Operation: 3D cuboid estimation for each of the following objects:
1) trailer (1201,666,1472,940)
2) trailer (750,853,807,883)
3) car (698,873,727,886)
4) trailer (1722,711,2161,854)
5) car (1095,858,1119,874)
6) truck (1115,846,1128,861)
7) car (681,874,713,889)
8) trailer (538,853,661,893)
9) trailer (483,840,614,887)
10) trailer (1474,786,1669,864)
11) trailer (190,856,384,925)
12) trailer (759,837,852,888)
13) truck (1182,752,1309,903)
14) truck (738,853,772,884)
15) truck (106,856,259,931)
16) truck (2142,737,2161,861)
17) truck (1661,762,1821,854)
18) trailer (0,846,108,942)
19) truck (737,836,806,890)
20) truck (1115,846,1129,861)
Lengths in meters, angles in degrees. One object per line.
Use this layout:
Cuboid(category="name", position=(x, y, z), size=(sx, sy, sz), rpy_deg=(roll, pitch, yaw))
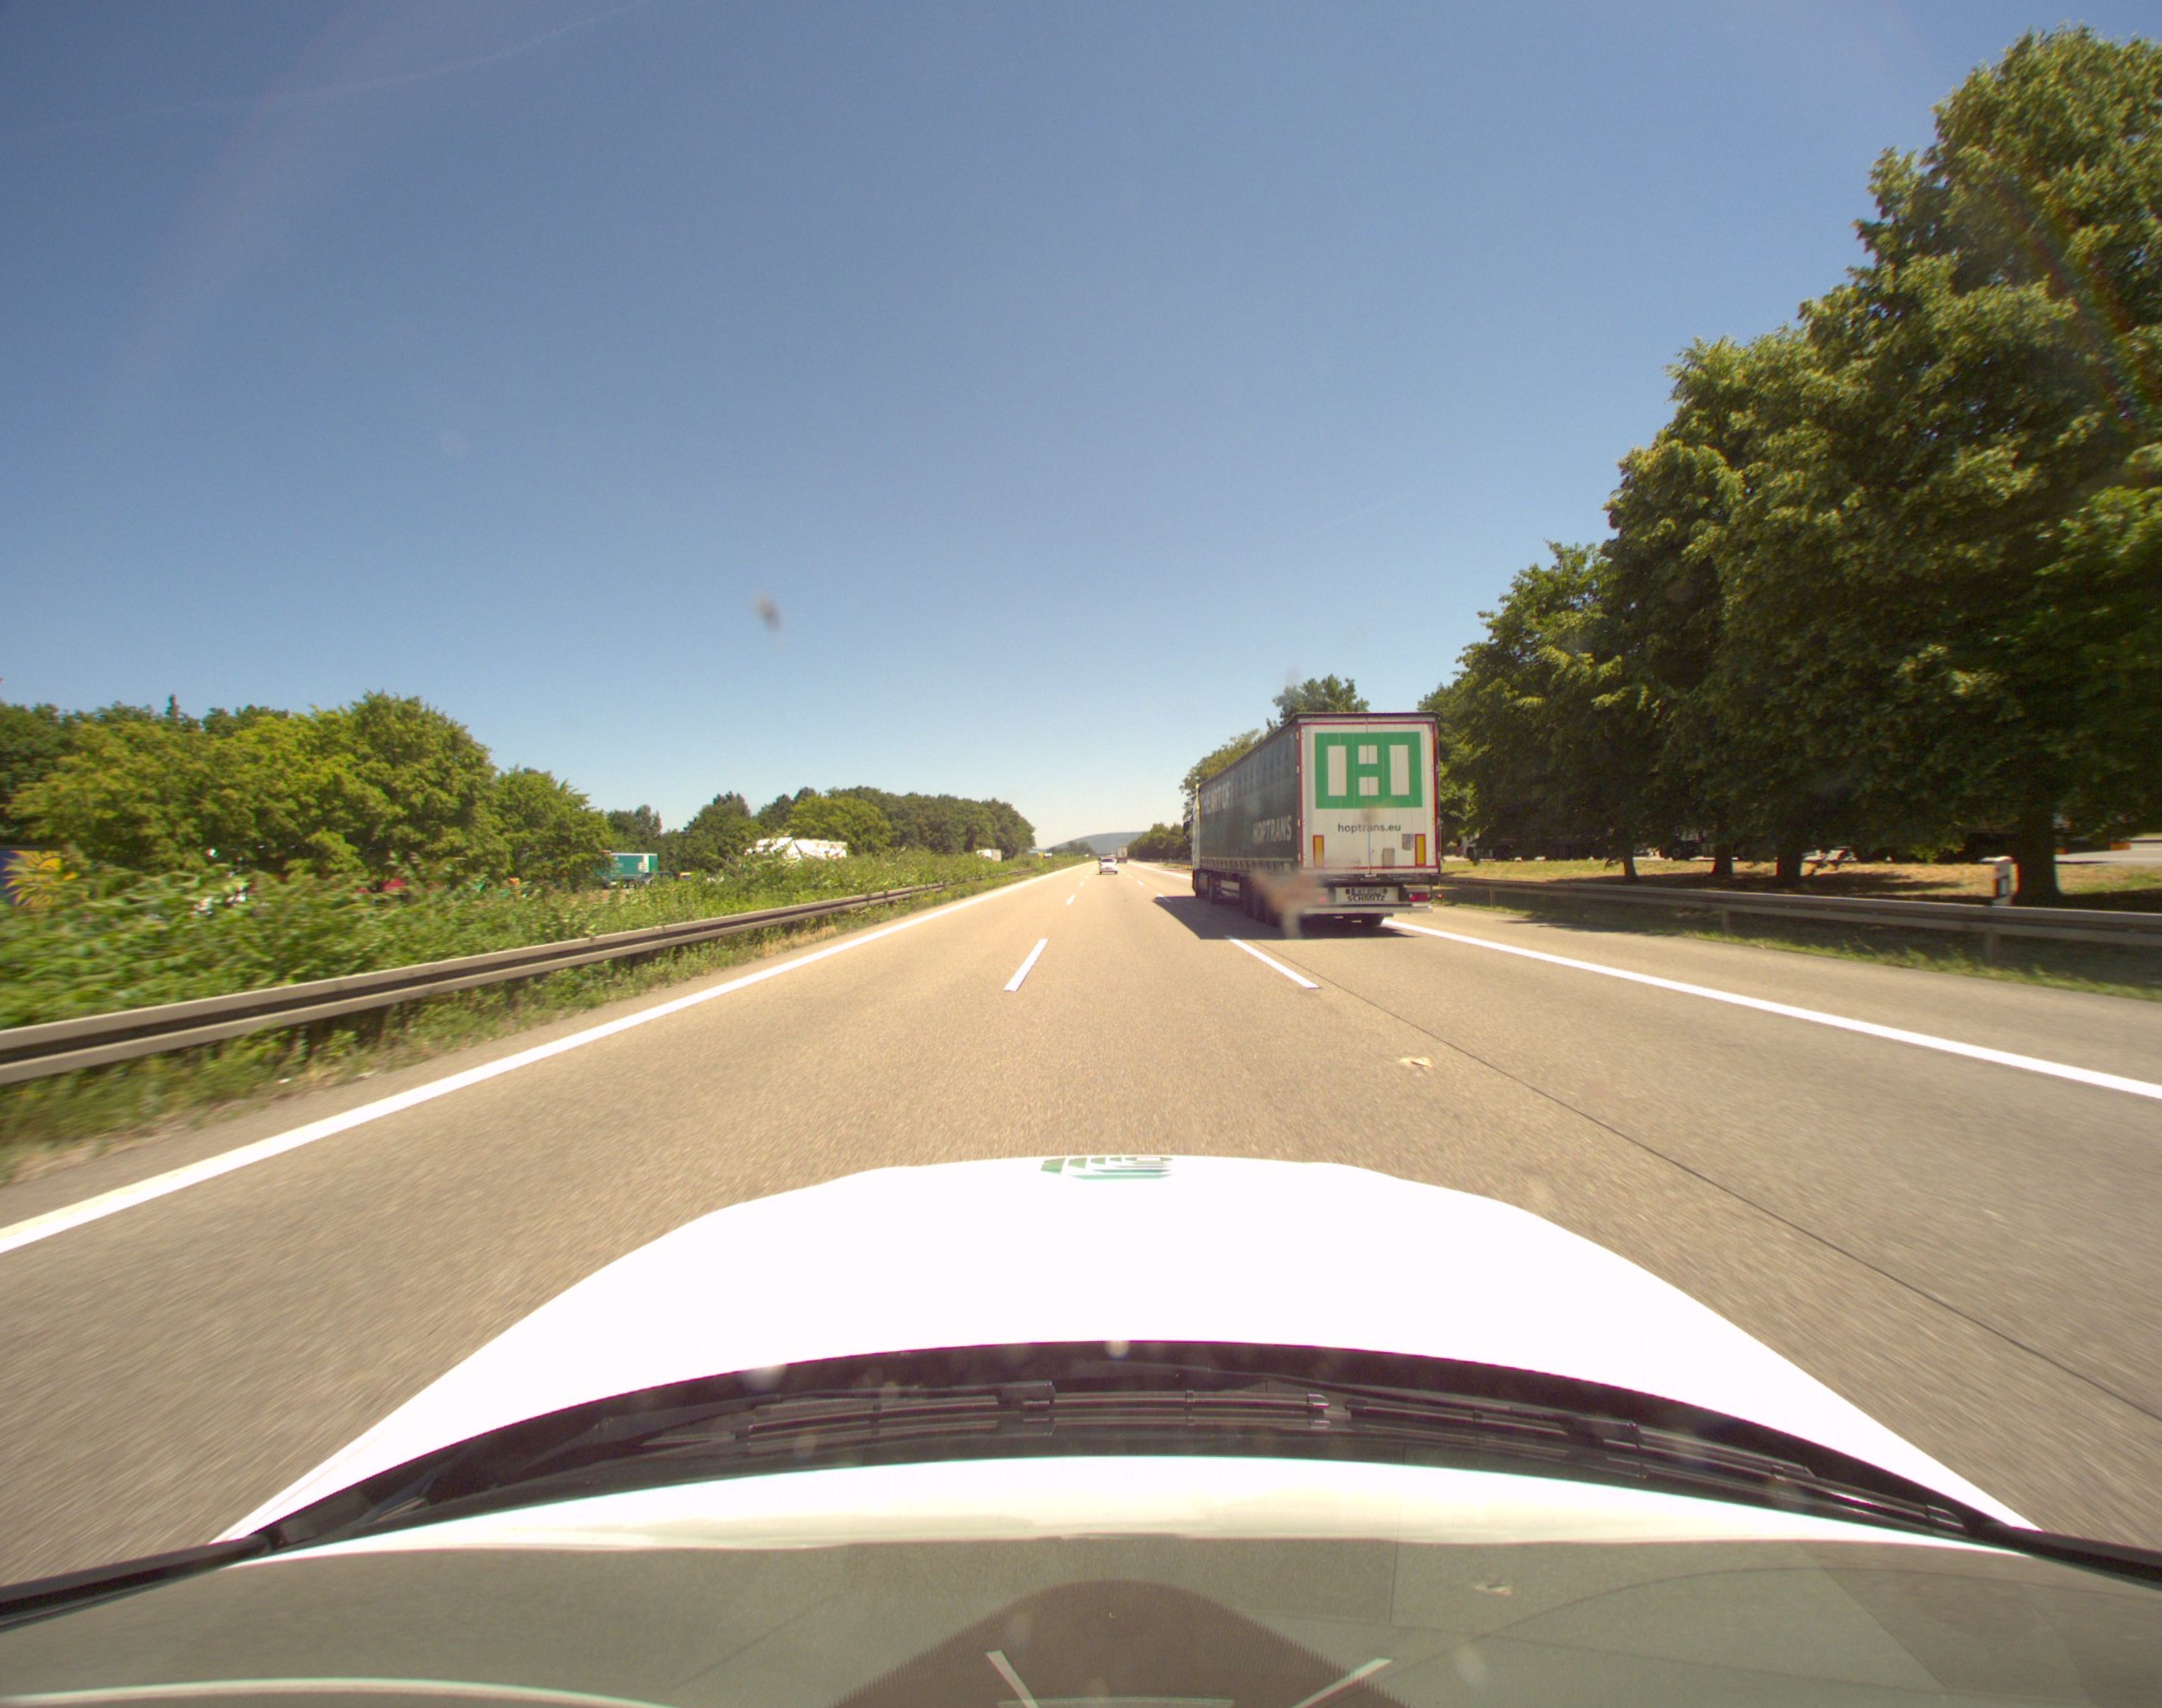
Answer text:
Cuboid(category="trailer", position=(5.297, -0.869, 20.116), size=(3.170, 4.627, 12.055), rpy_deg=(-2, 0, 2))
Cuboid(category="trailer", position=(-41.218, 1.792, 111.470), size=(2.278, 3.870, 10.729), rpy_deg=(-3, 0, 8))
Cuboid(category="car", position=(-44.243, 3.054, 97.801), size=(1.464, 1.429, 3.741), rpy_deg=(-2, 0, 5))
Cuboid(category="trailer", position=(29.050, -1.934, 28.580), size=(3.089, 3.790, 13.373), rpy_deg=(-1, 0, 3))
Cuboid(category="car", position=(2.387, 1.066, 75.952), size=(1.809, 1.405, 3.311), rpy_deg=(-2, 0, -5))
Cuboid(category="truck", position=(10.750, -0.188, 215.119), size=(3.313, 3.756, 5.402), rpy_deg=(-1, 0, 2))
Cuboid(category="car", position=(-43.674, 3.109, 92.624), size=(1.548, 1.429, 3.741), rpy_deg=(-3, 0, 5))
Cuboid(category="trailer", position=(-52.886, 1.962, 90.334), size=(2.949, 3.994, 14.942), rpy_deg=(-2, 0, 8))
Cuboid(category="trailer", position=(-46.600, 0.786, 72.109), size=(1.985, 3.728, 13.605), rpy_deg=(-2, 0, 3))
Cuboid(category="trailer", position=(29.188, -1.512, 49.879), size=(3.126, 3.952, 14.191), rpy_deg=(-3, 0, -1))
Cuboid(category="trailer", position=(-46.955, 2.012, 48.748), size=(2.448, 3.615, 9.605), rpy_deg=(-2, 0, -3))
Cuboid(category="trailer", position=(-18.421, 0.527, 55.324), size=(2.363, 3.090, 10.653), rpy_deg=(-1, 0, 2))
Cuboid(category="truck", position=(5.533, -0.830, 28.562), size=(3.171, 4.607, 5.948), rpy_deg=(-3, 0, 1))
Cuboid(category="truck", position=(-42.068, 1.883, 105.174), size=(2.242, 3.870, 3.810), rpy_deg=(-3, 0, 8))
Cuboid(category="truck", position=(-46.685, 1.949, 42.533), size=(2.448, 3.615, 4.995), rpy_deg=(-3, 0, -2))
Cuboid(category="truck", position=(27.779, -1.395, 17.241), size=(2.455, 3.086, 6.630), rpy_deg=(-1, 0, 7))
Cuboid(category="truck", position=(29.491, -1.931, 36.720), size=(3.076, 3.790, 5.321), rpy_deg=(-1, 0, 3))
Cuboid(category="trailer", position=(-45.745, 1.686, 31.302), size=(2.448, 3.953, 12.468), rpy_deg=(-2, 0, -5))
Cuboid(category="truck", position=(-18.613, 0.511, 49.266), size=(2.338, 3.079, 4.399), rpy_deg=(-1, 0, 2))
Cuboid(category="truck", position=(10.552, -0.181, 209.311), size=(3.313, 3.756, 12.800), rpy_deg=(-1, 0, 2))
